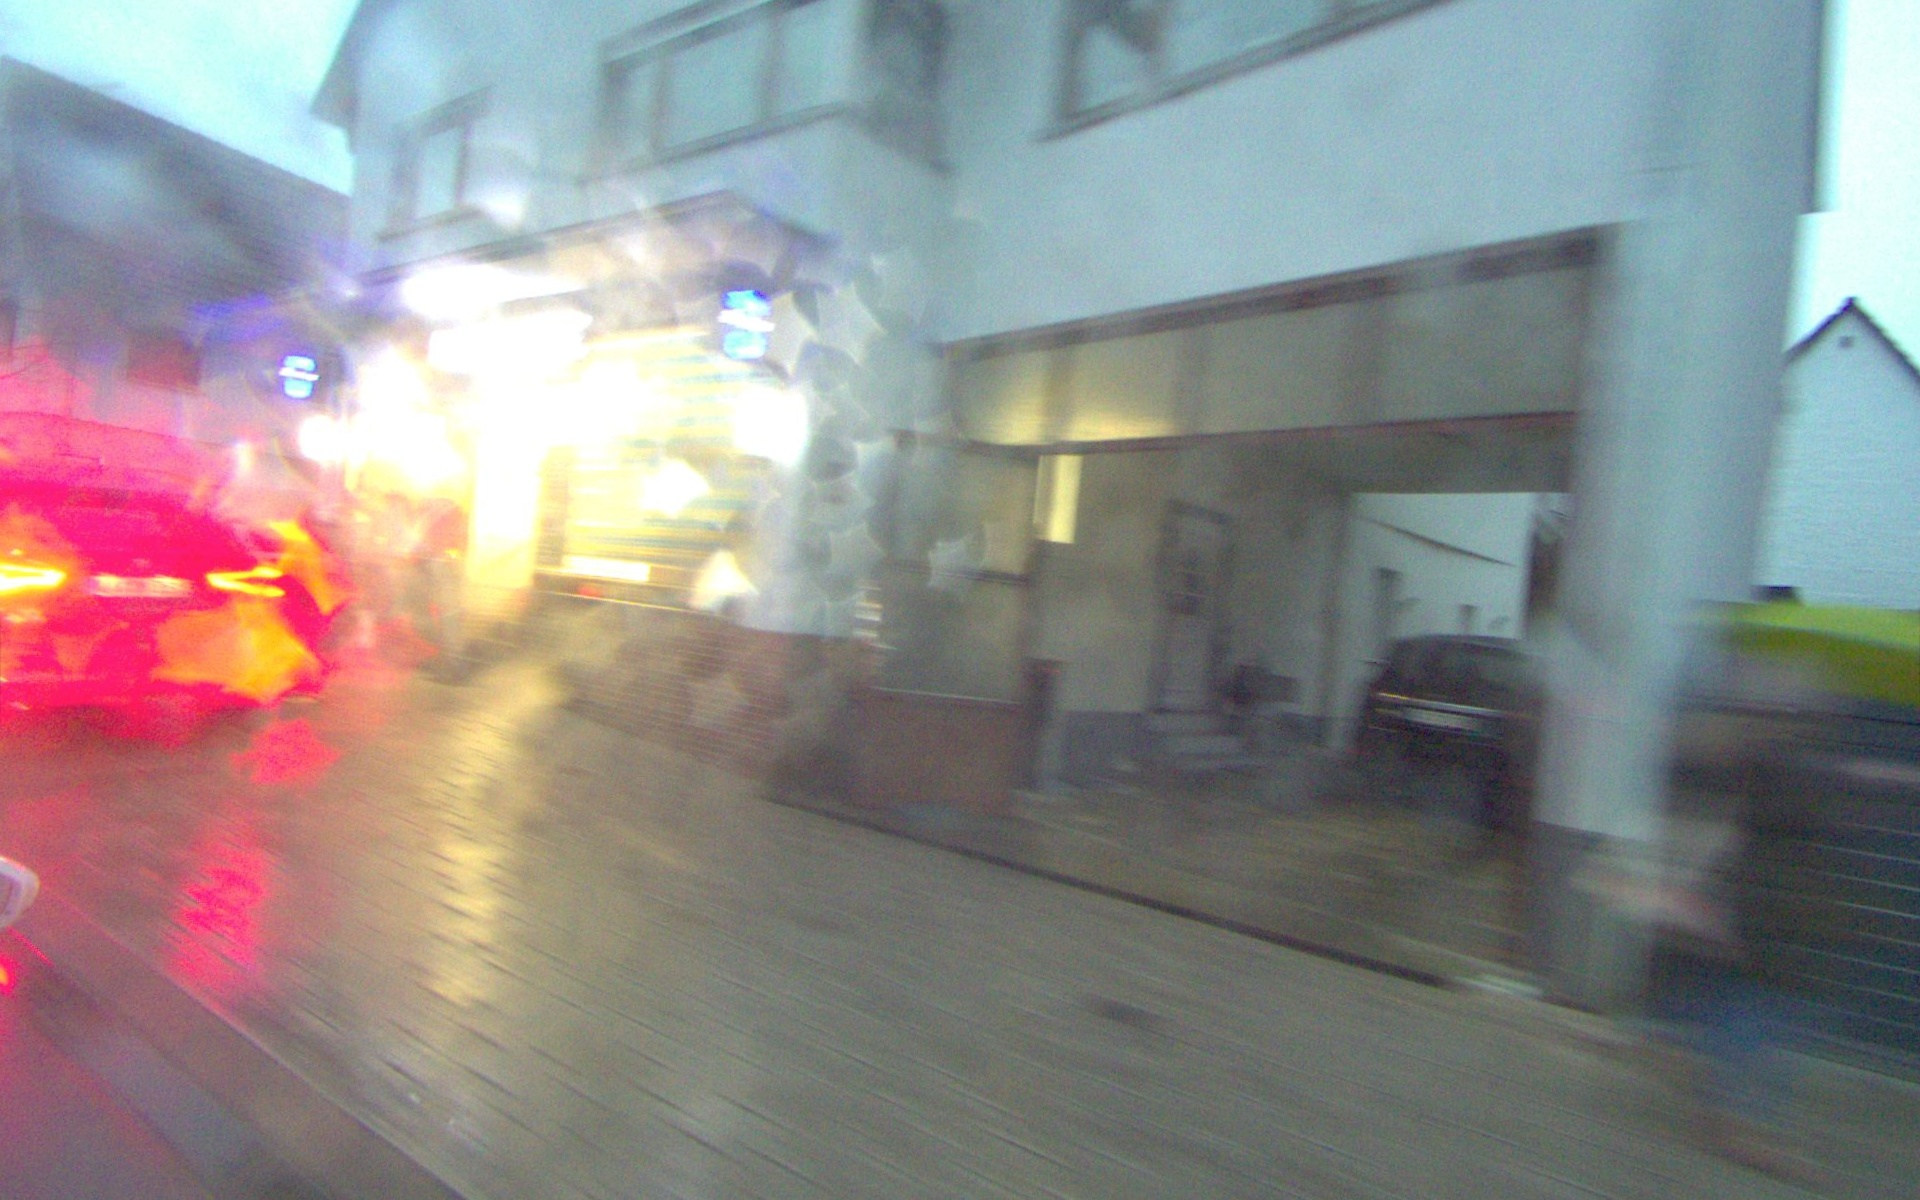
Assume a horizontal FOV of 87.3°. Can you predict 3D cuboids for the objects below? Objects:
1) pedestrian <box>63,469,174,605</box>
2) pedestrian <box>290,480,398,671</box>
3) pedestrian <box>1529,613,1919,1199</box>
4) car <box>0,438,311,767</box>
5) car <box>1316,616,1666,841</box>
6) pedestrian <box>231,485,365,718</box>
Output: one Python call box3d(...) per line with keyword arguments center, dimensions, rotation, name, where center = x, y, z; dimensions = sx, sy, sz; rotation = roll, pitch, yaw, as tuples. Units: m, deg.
box3d(center=(-10.339, -0.759, 12.373), dimensions=(0.720, 1.534, 0.620), rotation=(8, 1, 18), name="pedestrian")
box3d(center=(-5.953, -0.222, 9.725), dimensions=(0.495, 1.746, 0.617), rotation=(3, -3, 43), name="pedestrian")
box3d(center=(2.502, 0.932, 3.213), dimensions=(0.889, 1.646, 0.620), rotation=(8, 1, 18), name="pedestrian")
box3d(center=(-6.538, -0.131, 6.853), dimensions=(4.313, 1.713, 1.738), rotation=(6, 0, 31), name="car")
box3d(center=(5.417, 1.198, 10.019), dimensions=(1.865, 1.613, 3.976), rotation=(7, 0, 45), name="car")
box3d(center=(-5.177, 0.008, 7.874), dimensions=(0.642, 1.722, 0.573), rotation=(6, 2, 33), name="pedestrian")
